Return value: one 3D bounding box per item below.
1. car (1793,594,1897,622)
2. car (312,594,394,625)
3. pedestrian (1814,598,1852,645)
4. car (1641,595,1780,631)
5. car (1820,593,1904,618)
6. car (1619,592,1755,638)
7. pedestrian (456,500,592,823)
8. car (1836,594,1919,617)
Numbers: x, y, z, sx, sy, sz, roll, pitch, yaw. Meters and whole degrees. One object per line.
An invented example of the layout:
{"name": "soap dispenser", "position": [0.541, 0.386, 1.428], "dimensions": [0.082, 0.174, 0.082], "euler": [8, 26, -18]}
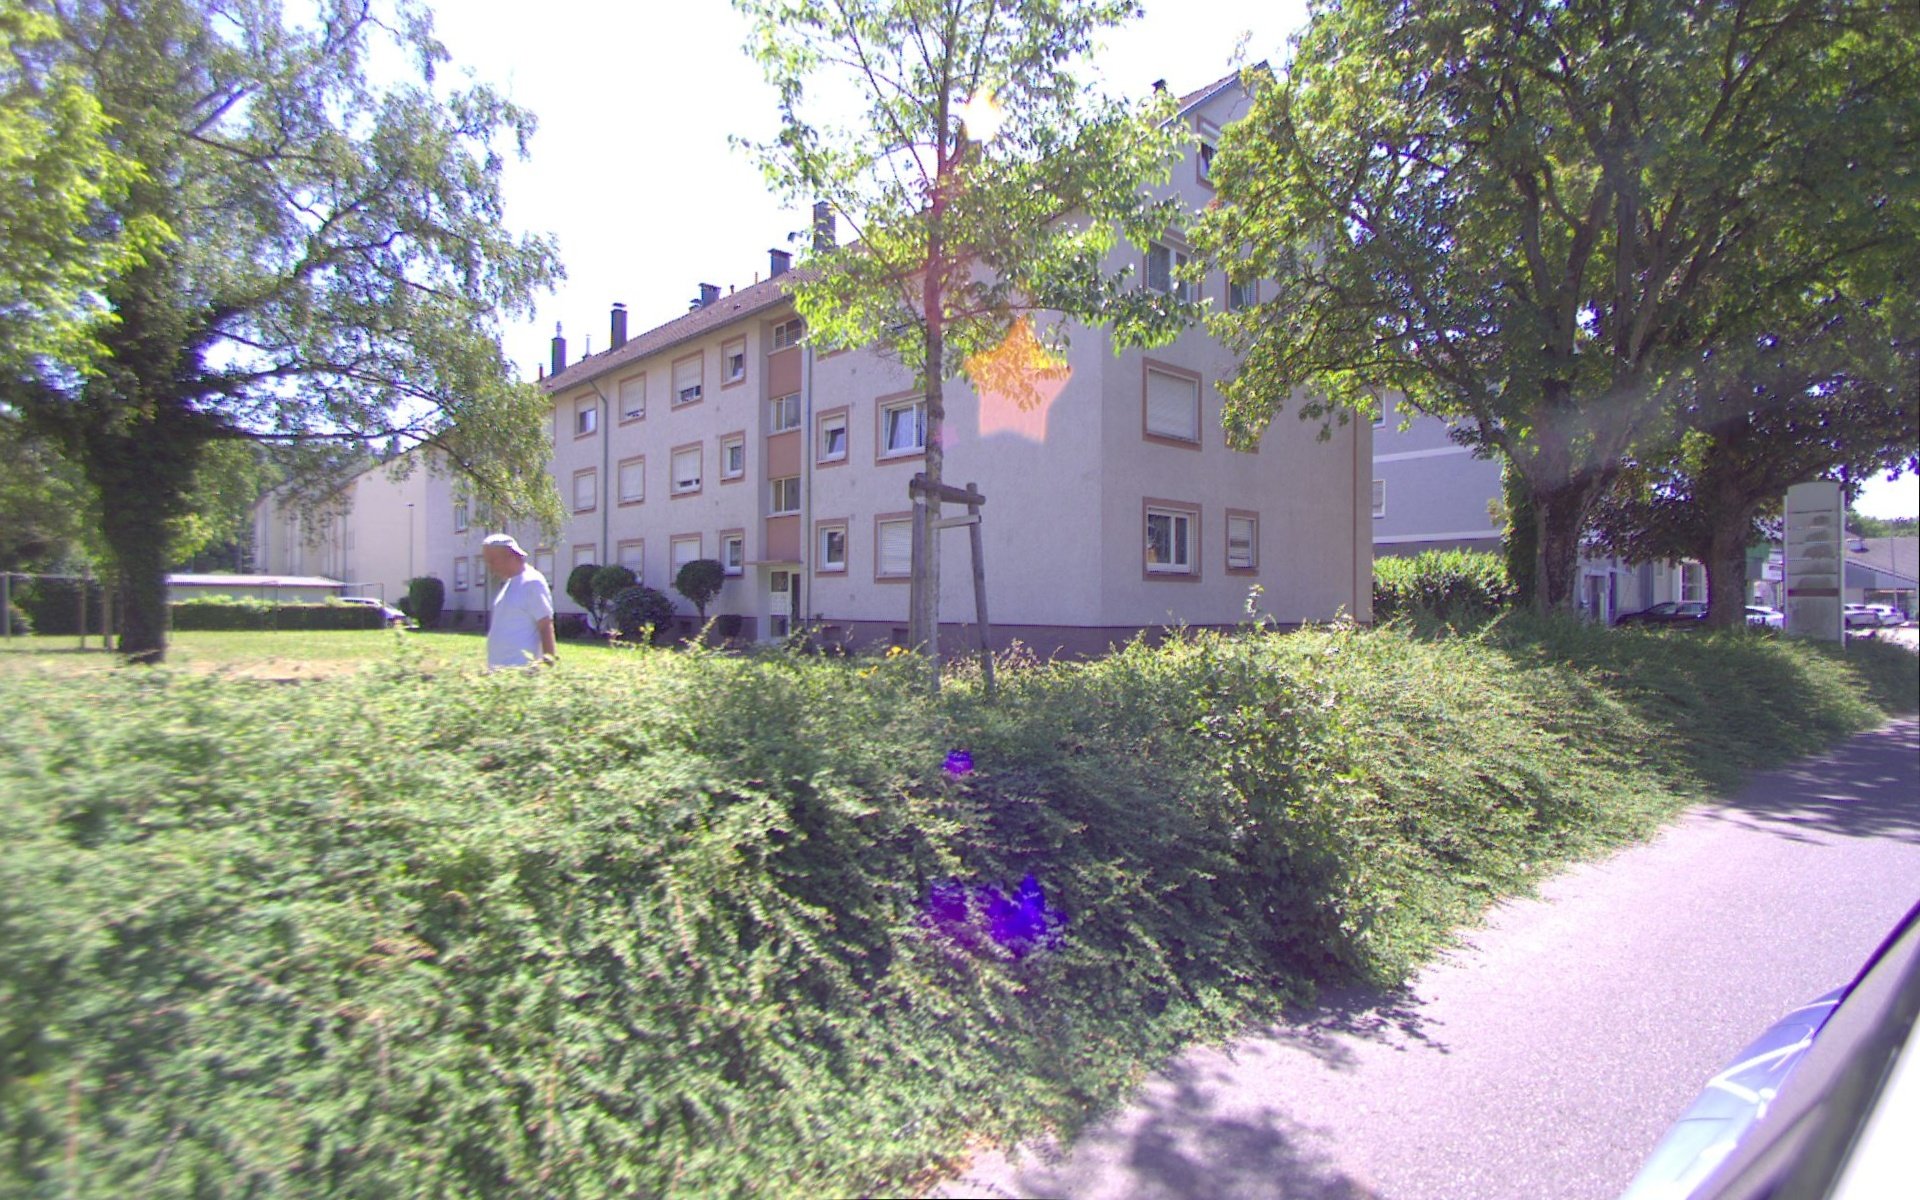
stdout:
{"name": "car", "position": [56.260, 0.481, 64.427], "dimensions": [1.958, 1.662, 4.606], "euler": [0, 1, -21]}
{"name": "car", "position": [-36.901, 0.550, 61.630], "dimensions": [3.874, 1.846, 1.957], "euler": [0, 0, -12]}
{"name": "pedestrian", "position": [31.902, 0.767, 36.983], "dimensions": [0.991, 1.662, 0.842], "euler": [0, 0, -36]}
{"name": "car", "position": [30.910, 0.500, 41.849], "dimensions": [4.315, 1.388, 1.937], "euler": [0, 0, 27]}
{"name": "car", "position": [60.340, 0.358, 67.760], "dimensions": [1.643, 1.552, 3.875], "euler": [0, 1, -22]}
{"name": "car", "position": [28.285, 0.535, 39.455], "dimensions": [1.766, 1.569, 3.995], "euler": [0, 2, -41]}
{"name": "pedestrian", "position": [-2.830, 0.362, 6.560], "dimensions": [0.648, 1.938, 0.705], "euler": [0, 0, -38]}
{"name": "car", "position": [62.241, 0.339, 68.532], "dimensions": [1.768, 1.479, 4.007], "euler": [0, 1, -25]}
